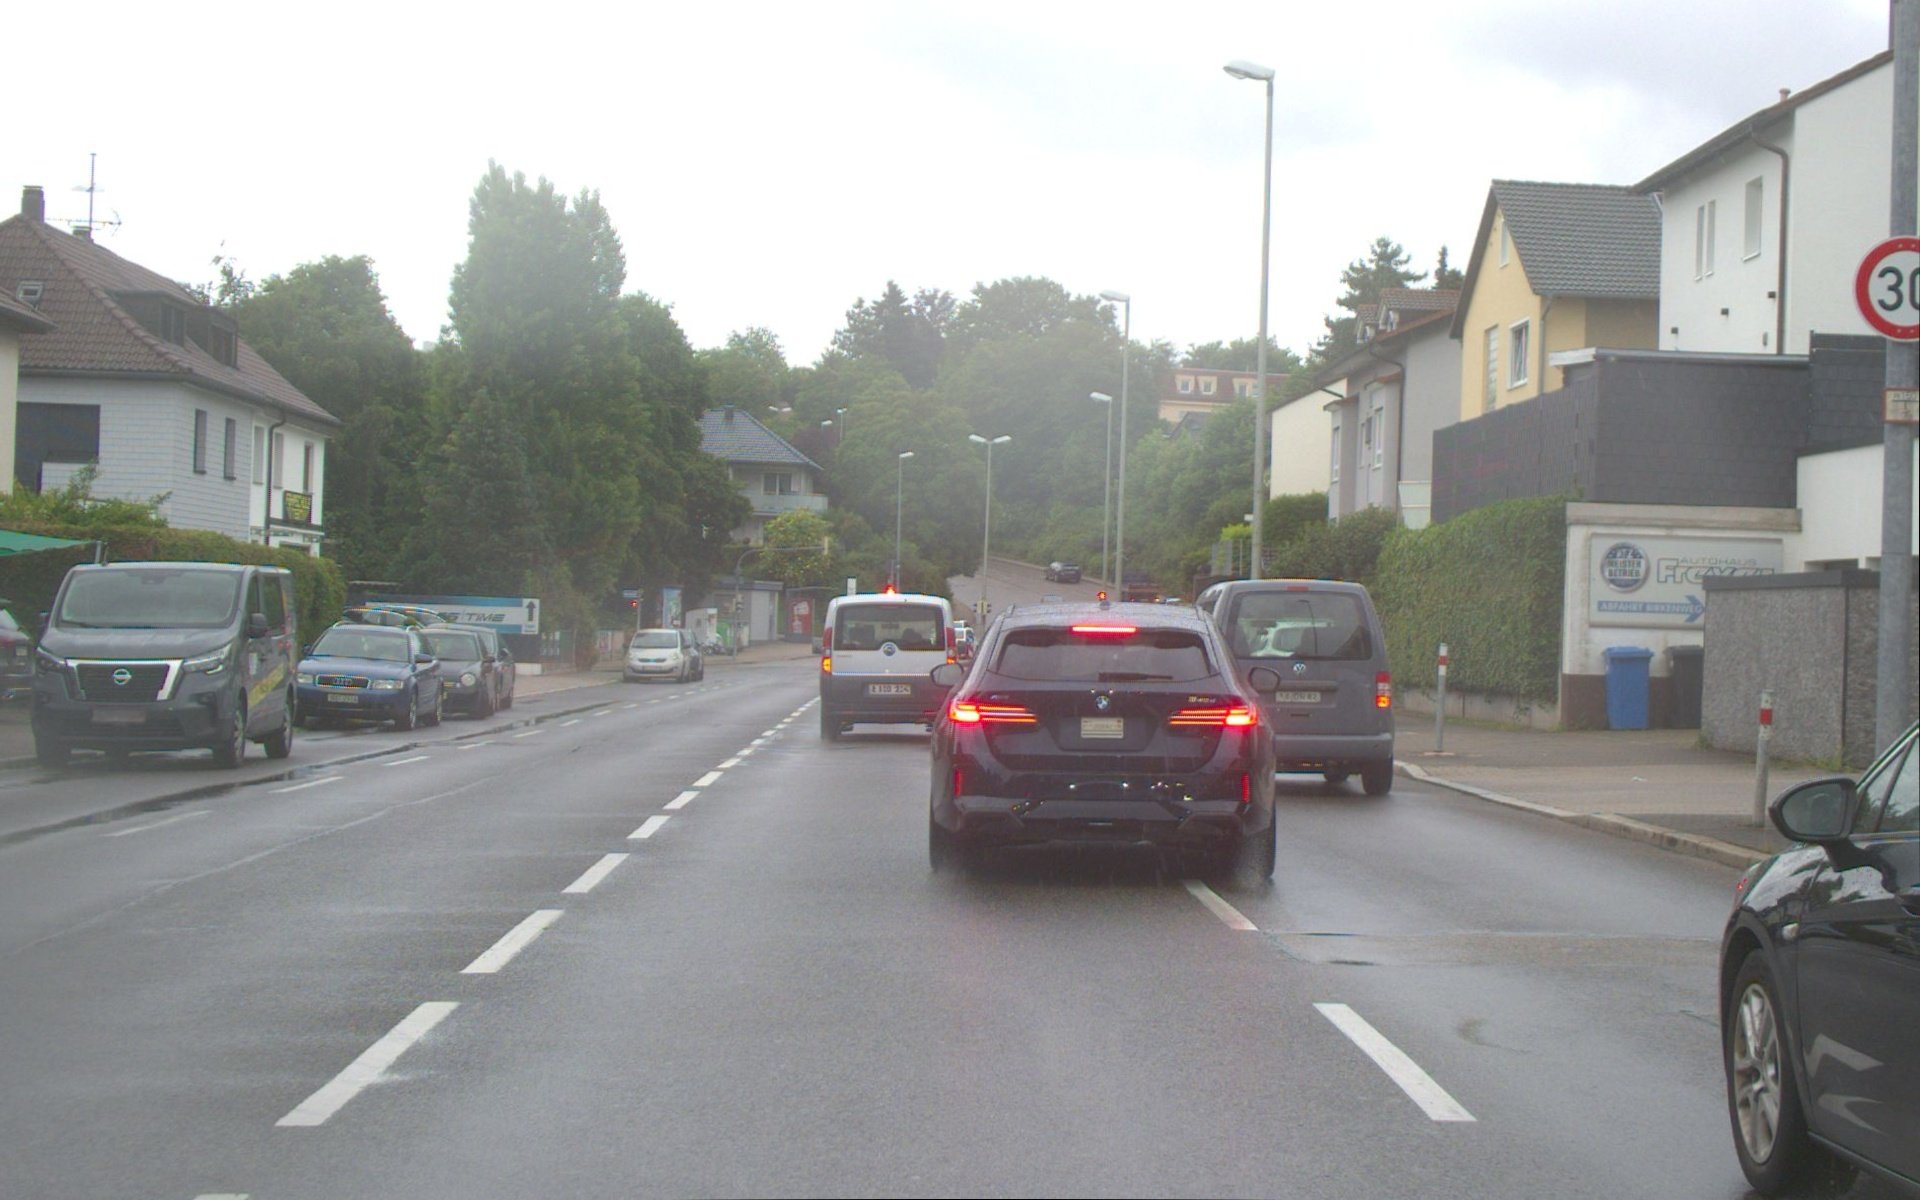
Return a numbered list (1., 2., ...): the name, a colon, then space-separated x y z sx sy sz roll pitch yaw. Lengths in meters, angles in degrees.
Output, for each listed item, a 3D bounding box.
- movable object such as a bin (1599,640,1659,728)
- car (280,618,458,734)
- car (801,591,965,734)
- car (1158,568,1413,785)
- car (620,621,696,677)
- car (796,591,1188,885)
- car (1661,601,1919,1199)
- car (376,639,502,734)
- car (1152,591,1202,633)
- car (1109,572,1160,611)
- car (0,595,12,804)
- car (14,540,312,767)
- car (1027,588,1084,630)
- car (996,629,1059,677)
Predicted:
1. movable object such as a bin: 8.580 1.070 44.081 0.595 1.101 0.667 -2 0 -1
2. car: -8.281 1.052 48.509 1.757 1.527 4.286 1 -1 0
3. car: -0.965 0.800 44.511 1.993 1.732 4.000 1 -1 0
4. car: 2.813 0.663 30.475 1.838 1.761 4.000 1 -1 0
5. car: -8.874 1.438 101.338 1.884 1.580 4.000 1 -1 0
6. car: 0.183 0.741 19.750 1.993 1.479 4.000 1 -1 1
7. car: 2.804 0.745 6.986 1.756 1.444 4.000 1 0 -3
8. car: -8.250 1.358 54.692 1.551 1.426 4.015 1 -1 -3
9. car: 11.949 0.624 189.626 2.522 2.006 5.608 2 2 2
10. car: 11.349 -0.581 224.596 2.521 2.006 5.610 2 4 -5
11. car: -7.715 0.675 22.868 1.750 1.512 4.528 1 -1 -3
12. car: -7.617 0.516 33.350 1.912 1.996 5.088 1 -1 -3
13. car: 5.153 0.461 186.720 2.521 2.006 5.609 1 2 -4
14. car: 2.332 1.831 119.696 1.993 1.573 4.000 0 1 -2
